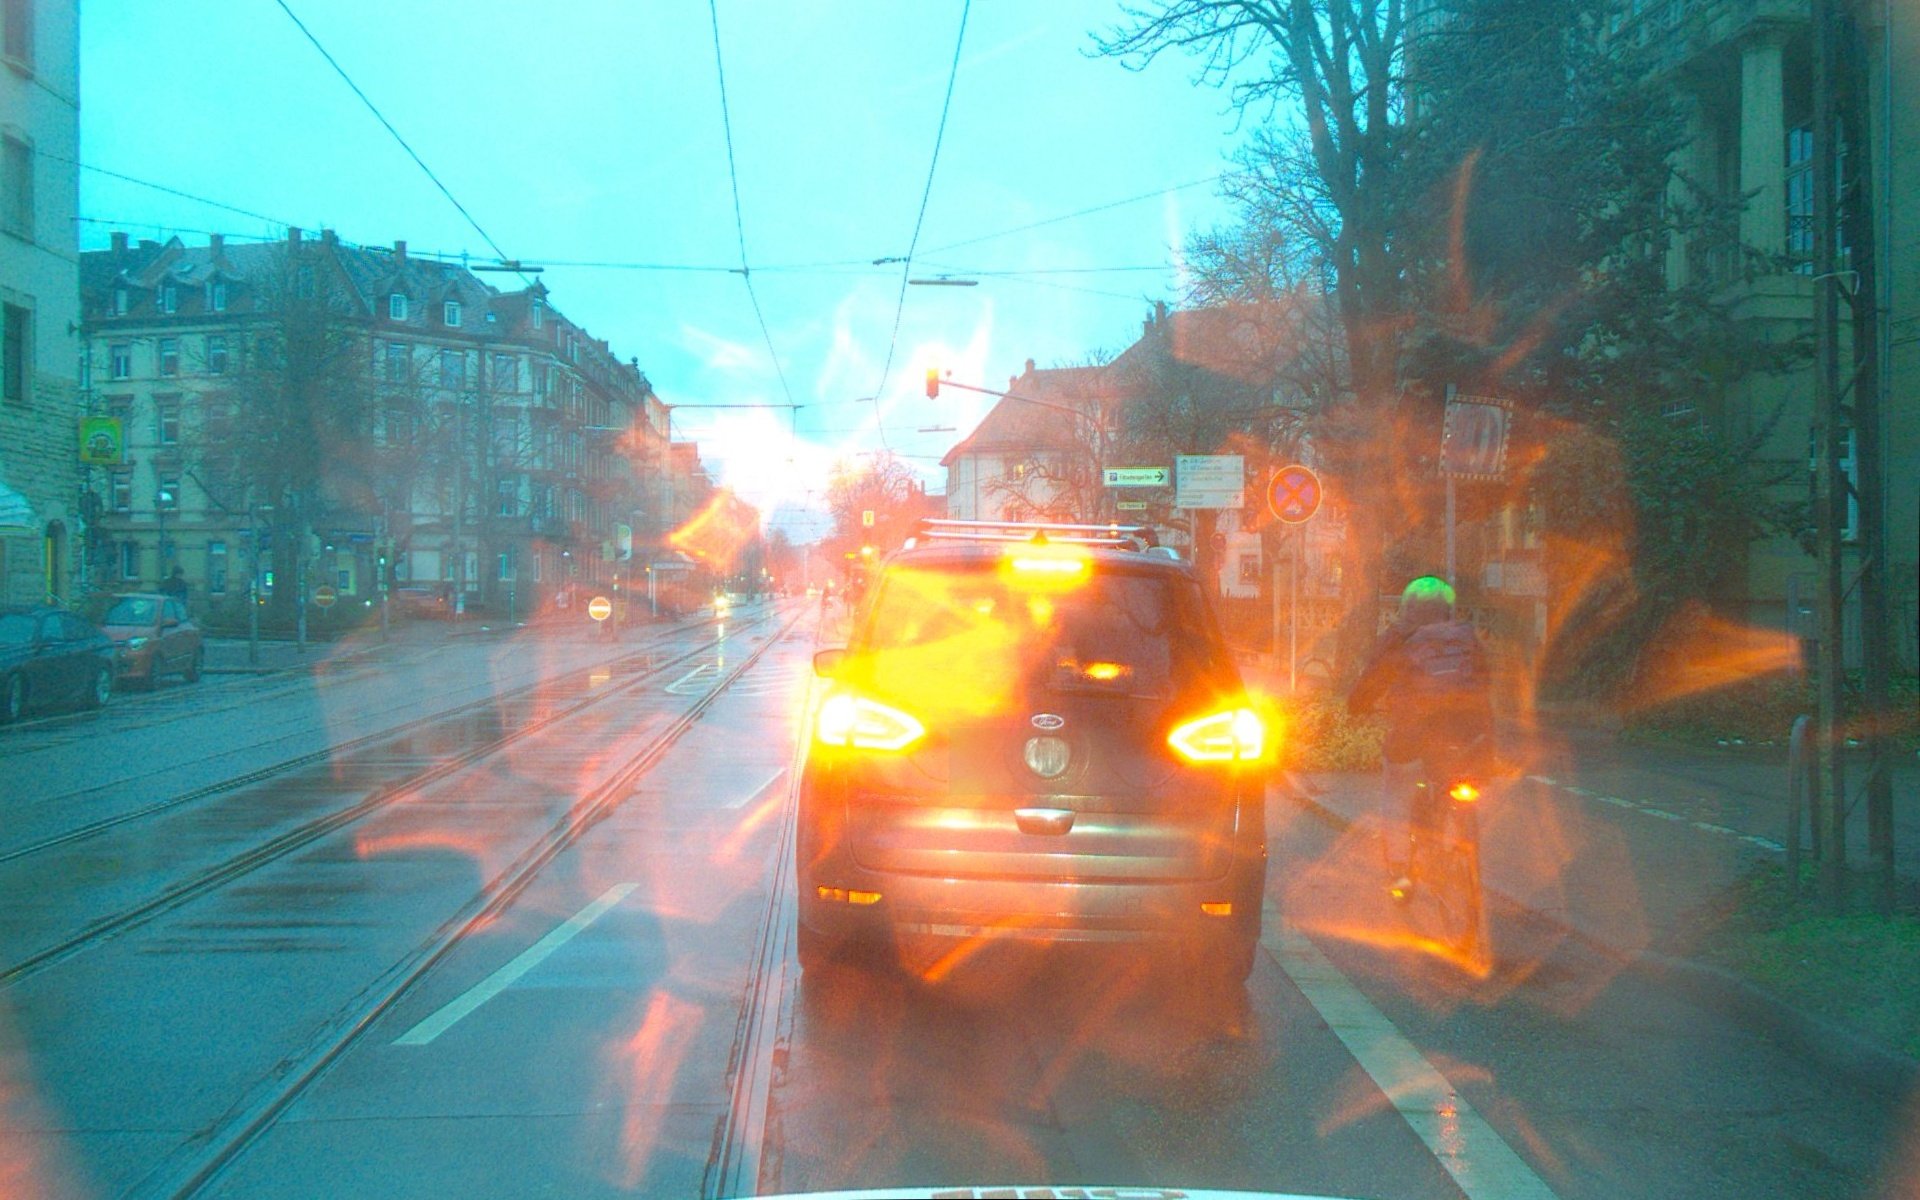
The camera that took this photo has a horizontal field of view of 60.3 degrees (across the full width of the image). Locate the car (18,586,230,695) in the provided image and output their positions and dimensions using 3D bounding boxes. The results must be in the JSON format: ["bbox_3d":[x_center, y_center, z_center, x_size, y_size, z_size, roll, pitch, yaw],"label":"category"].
[{"bbox_3d":[-14.150,0.637,28.271,2.000,1.578,4.023,4,0,-9],"label":"car"}]

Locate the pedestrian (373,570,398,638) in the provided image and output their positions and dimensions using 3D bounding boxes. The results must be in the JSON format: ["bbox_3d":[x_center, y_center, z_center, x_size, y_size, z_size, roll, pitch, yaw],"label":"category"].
[{"bbox_3d":[-17.484,0.114,50.330,0.695,2.049,0.656,0,0,-24],"label":"pedestrian"}]

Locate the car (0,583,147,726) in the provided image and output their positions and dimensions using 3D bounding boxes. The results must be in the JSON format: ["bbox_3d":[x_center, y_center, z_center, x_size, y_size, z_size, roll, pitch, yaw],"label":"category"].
[{"bbox_3d":[-13.036,0.654,22.535,1.948,1.674,4.624,5,-1,-7],"label":"car"}]

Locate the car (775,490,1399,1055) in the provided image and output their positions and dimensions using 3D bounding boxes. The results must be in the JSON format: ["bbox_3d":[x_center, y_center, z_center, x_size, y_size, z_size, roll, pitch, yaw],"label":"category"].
[{"bbox_3d":[0.355,0.575,7.912,2.061,1.848,4.659,2,0,-2],"label":"car"}]

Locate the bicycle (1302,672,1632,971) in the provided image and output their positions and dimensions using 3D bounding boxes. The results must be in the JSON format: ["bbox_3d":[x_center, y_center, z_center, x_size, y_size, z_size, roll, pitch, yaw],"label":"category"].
[{"bbox_3d":[2.367,0.993,8.017,0.703,1.131,1.938,4,0,-8],"label":"bicycle"}]

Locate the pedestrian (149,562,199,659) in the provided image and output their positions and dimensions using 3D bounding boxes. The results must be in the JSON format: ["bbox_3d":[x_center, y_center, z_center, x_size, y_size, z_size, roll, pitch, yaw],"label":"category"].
[{"bbox_3d":[-16.816,0.231,35.393,0.742,2.049,0.646,0,-1,32],"label":"pedestrian"}]

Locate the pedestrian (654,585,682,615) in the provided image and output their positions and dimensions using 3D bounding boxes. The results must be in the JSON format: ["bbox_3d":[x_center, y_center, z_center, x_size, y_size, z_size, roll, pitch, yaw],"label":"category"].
[{"bbox_3d":[-12.060,0.003,68.406,1.026,1.221,0.884,1,0,-3],"label":"pedestrian"}]

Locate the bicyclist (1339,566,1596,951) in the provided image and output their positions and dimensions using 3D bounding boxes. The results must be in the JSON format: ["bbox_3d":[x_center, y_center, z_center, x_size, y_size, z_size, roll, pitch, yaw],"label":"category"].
[{"bbox_3d":[2.397,0.712,7.932,0.703,1.691,1.054,4,0,-8],"label":"bicyclist"}]
